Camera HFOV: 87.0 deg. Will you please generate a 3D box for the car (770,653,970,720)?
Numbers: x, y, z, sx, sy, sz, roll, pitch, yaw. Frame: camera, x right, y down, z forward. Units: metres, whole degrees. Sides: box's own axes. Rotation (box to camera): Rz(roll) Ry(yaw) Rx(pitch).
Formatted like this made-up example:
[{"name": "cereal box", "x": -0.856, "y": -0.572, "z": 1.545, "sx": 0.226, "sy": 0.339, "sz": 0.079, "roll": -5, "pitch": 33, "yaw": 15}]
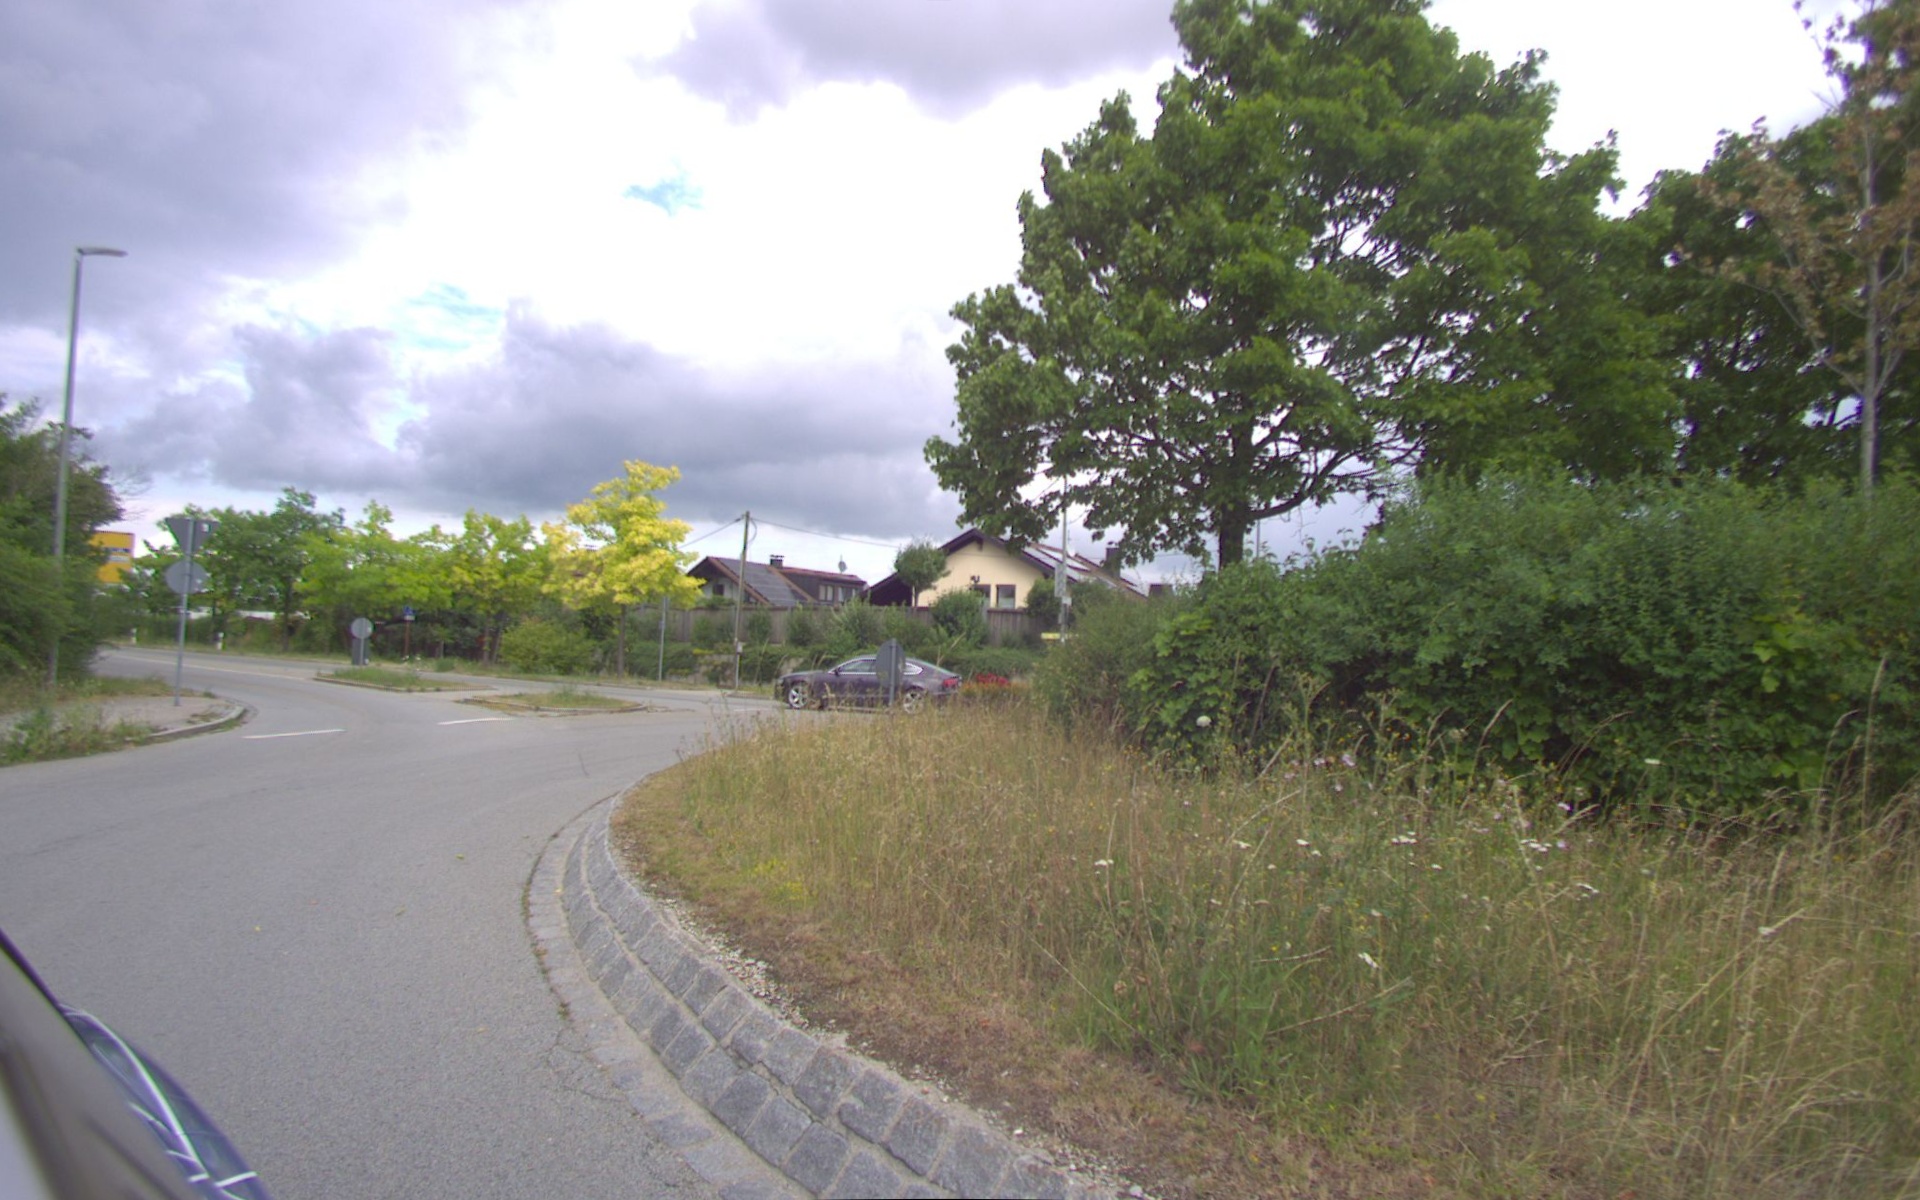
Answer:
[{"name": "car", "x": -2.091, "y": 2.051, "z": 24.295, "sx": 4.420, "sy": 1.357, "sz": 1.930, "roll": 2, "pitch": -5, "yaw": 10}]
